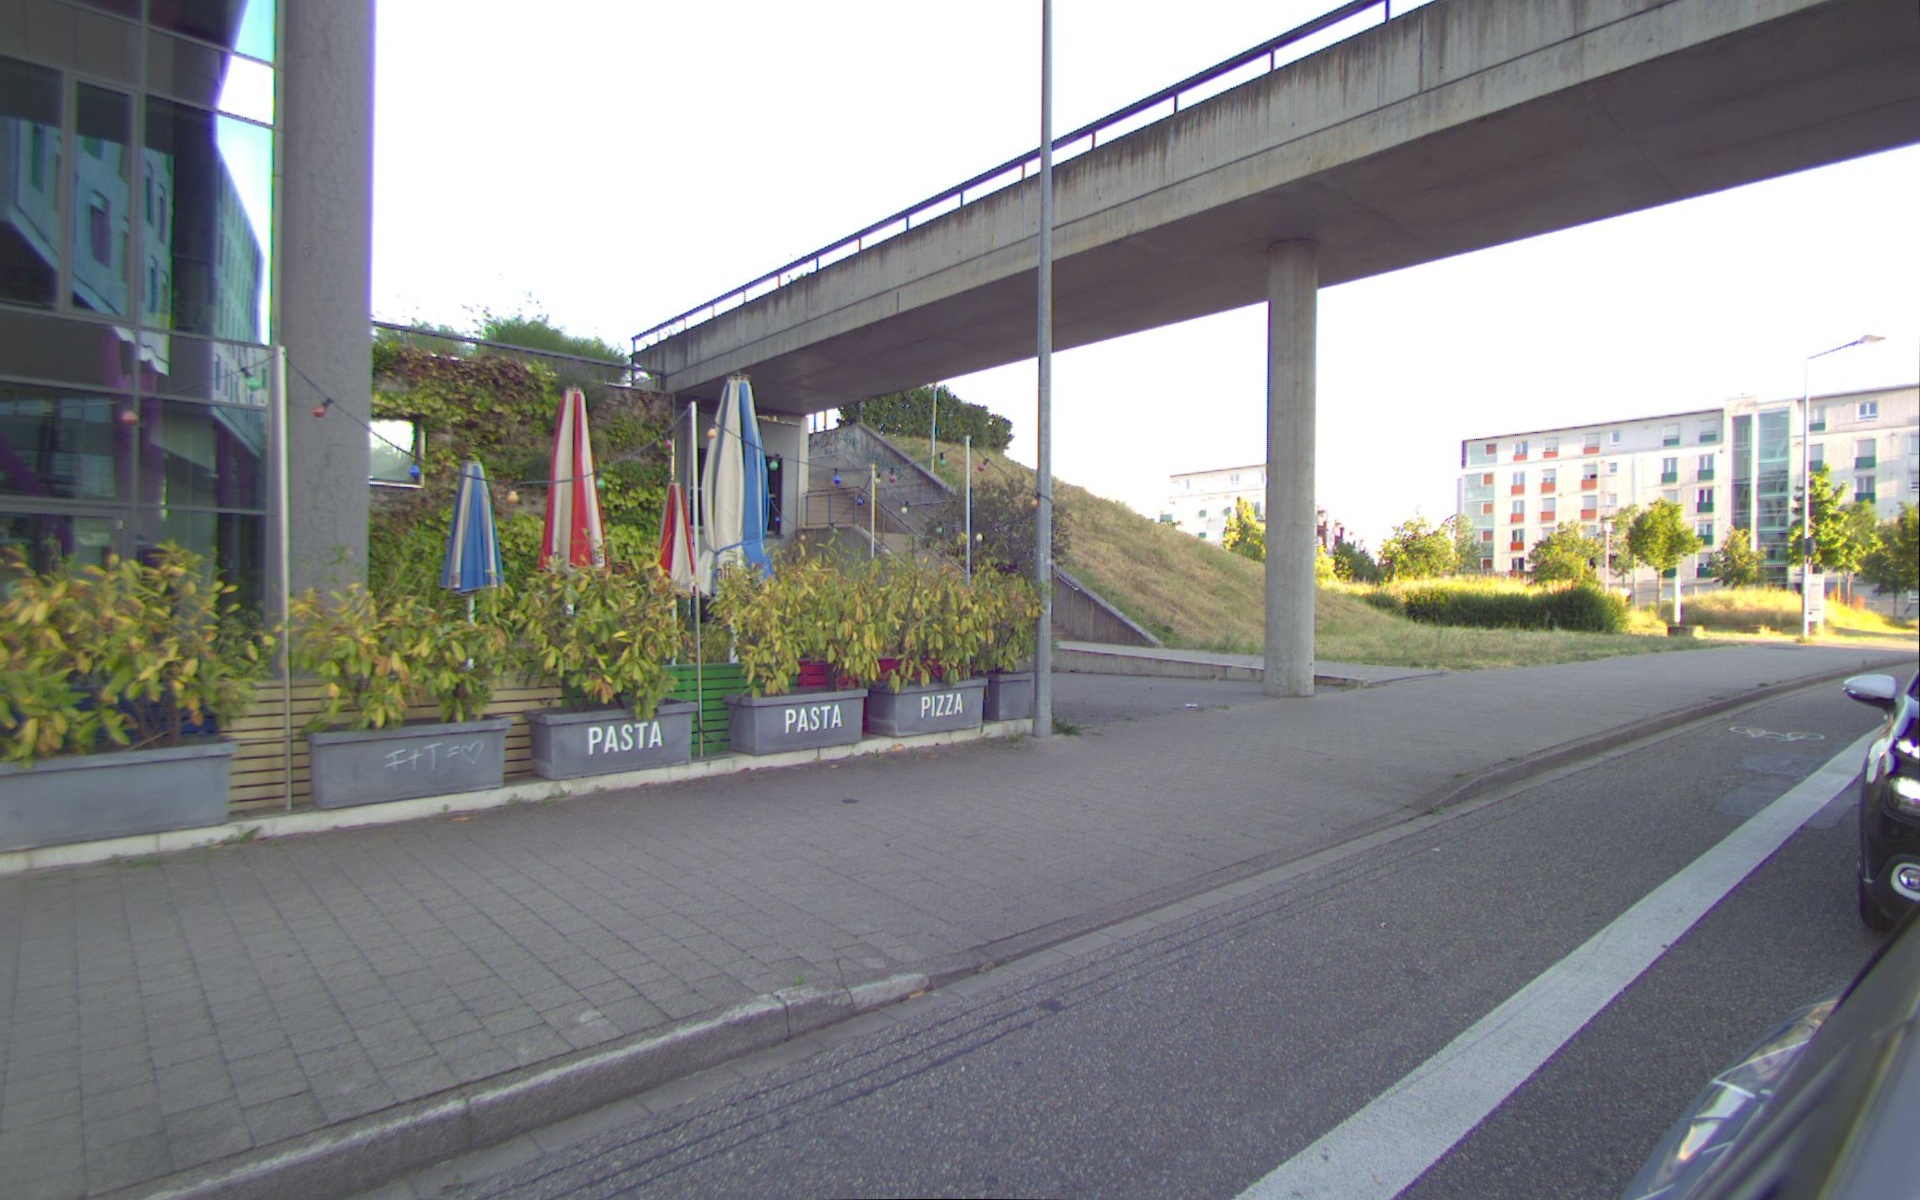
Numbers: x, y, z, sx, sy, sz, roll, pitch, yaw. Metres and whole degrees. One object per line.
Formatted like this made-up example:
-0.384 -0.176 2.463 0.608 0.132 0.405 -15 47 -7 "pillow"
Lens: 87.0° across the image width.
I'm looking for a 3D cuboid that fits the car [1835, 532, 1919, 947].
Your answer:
5.517 0.539 4.737 4.003 1.571 1.757 0 0 -43 "car"
